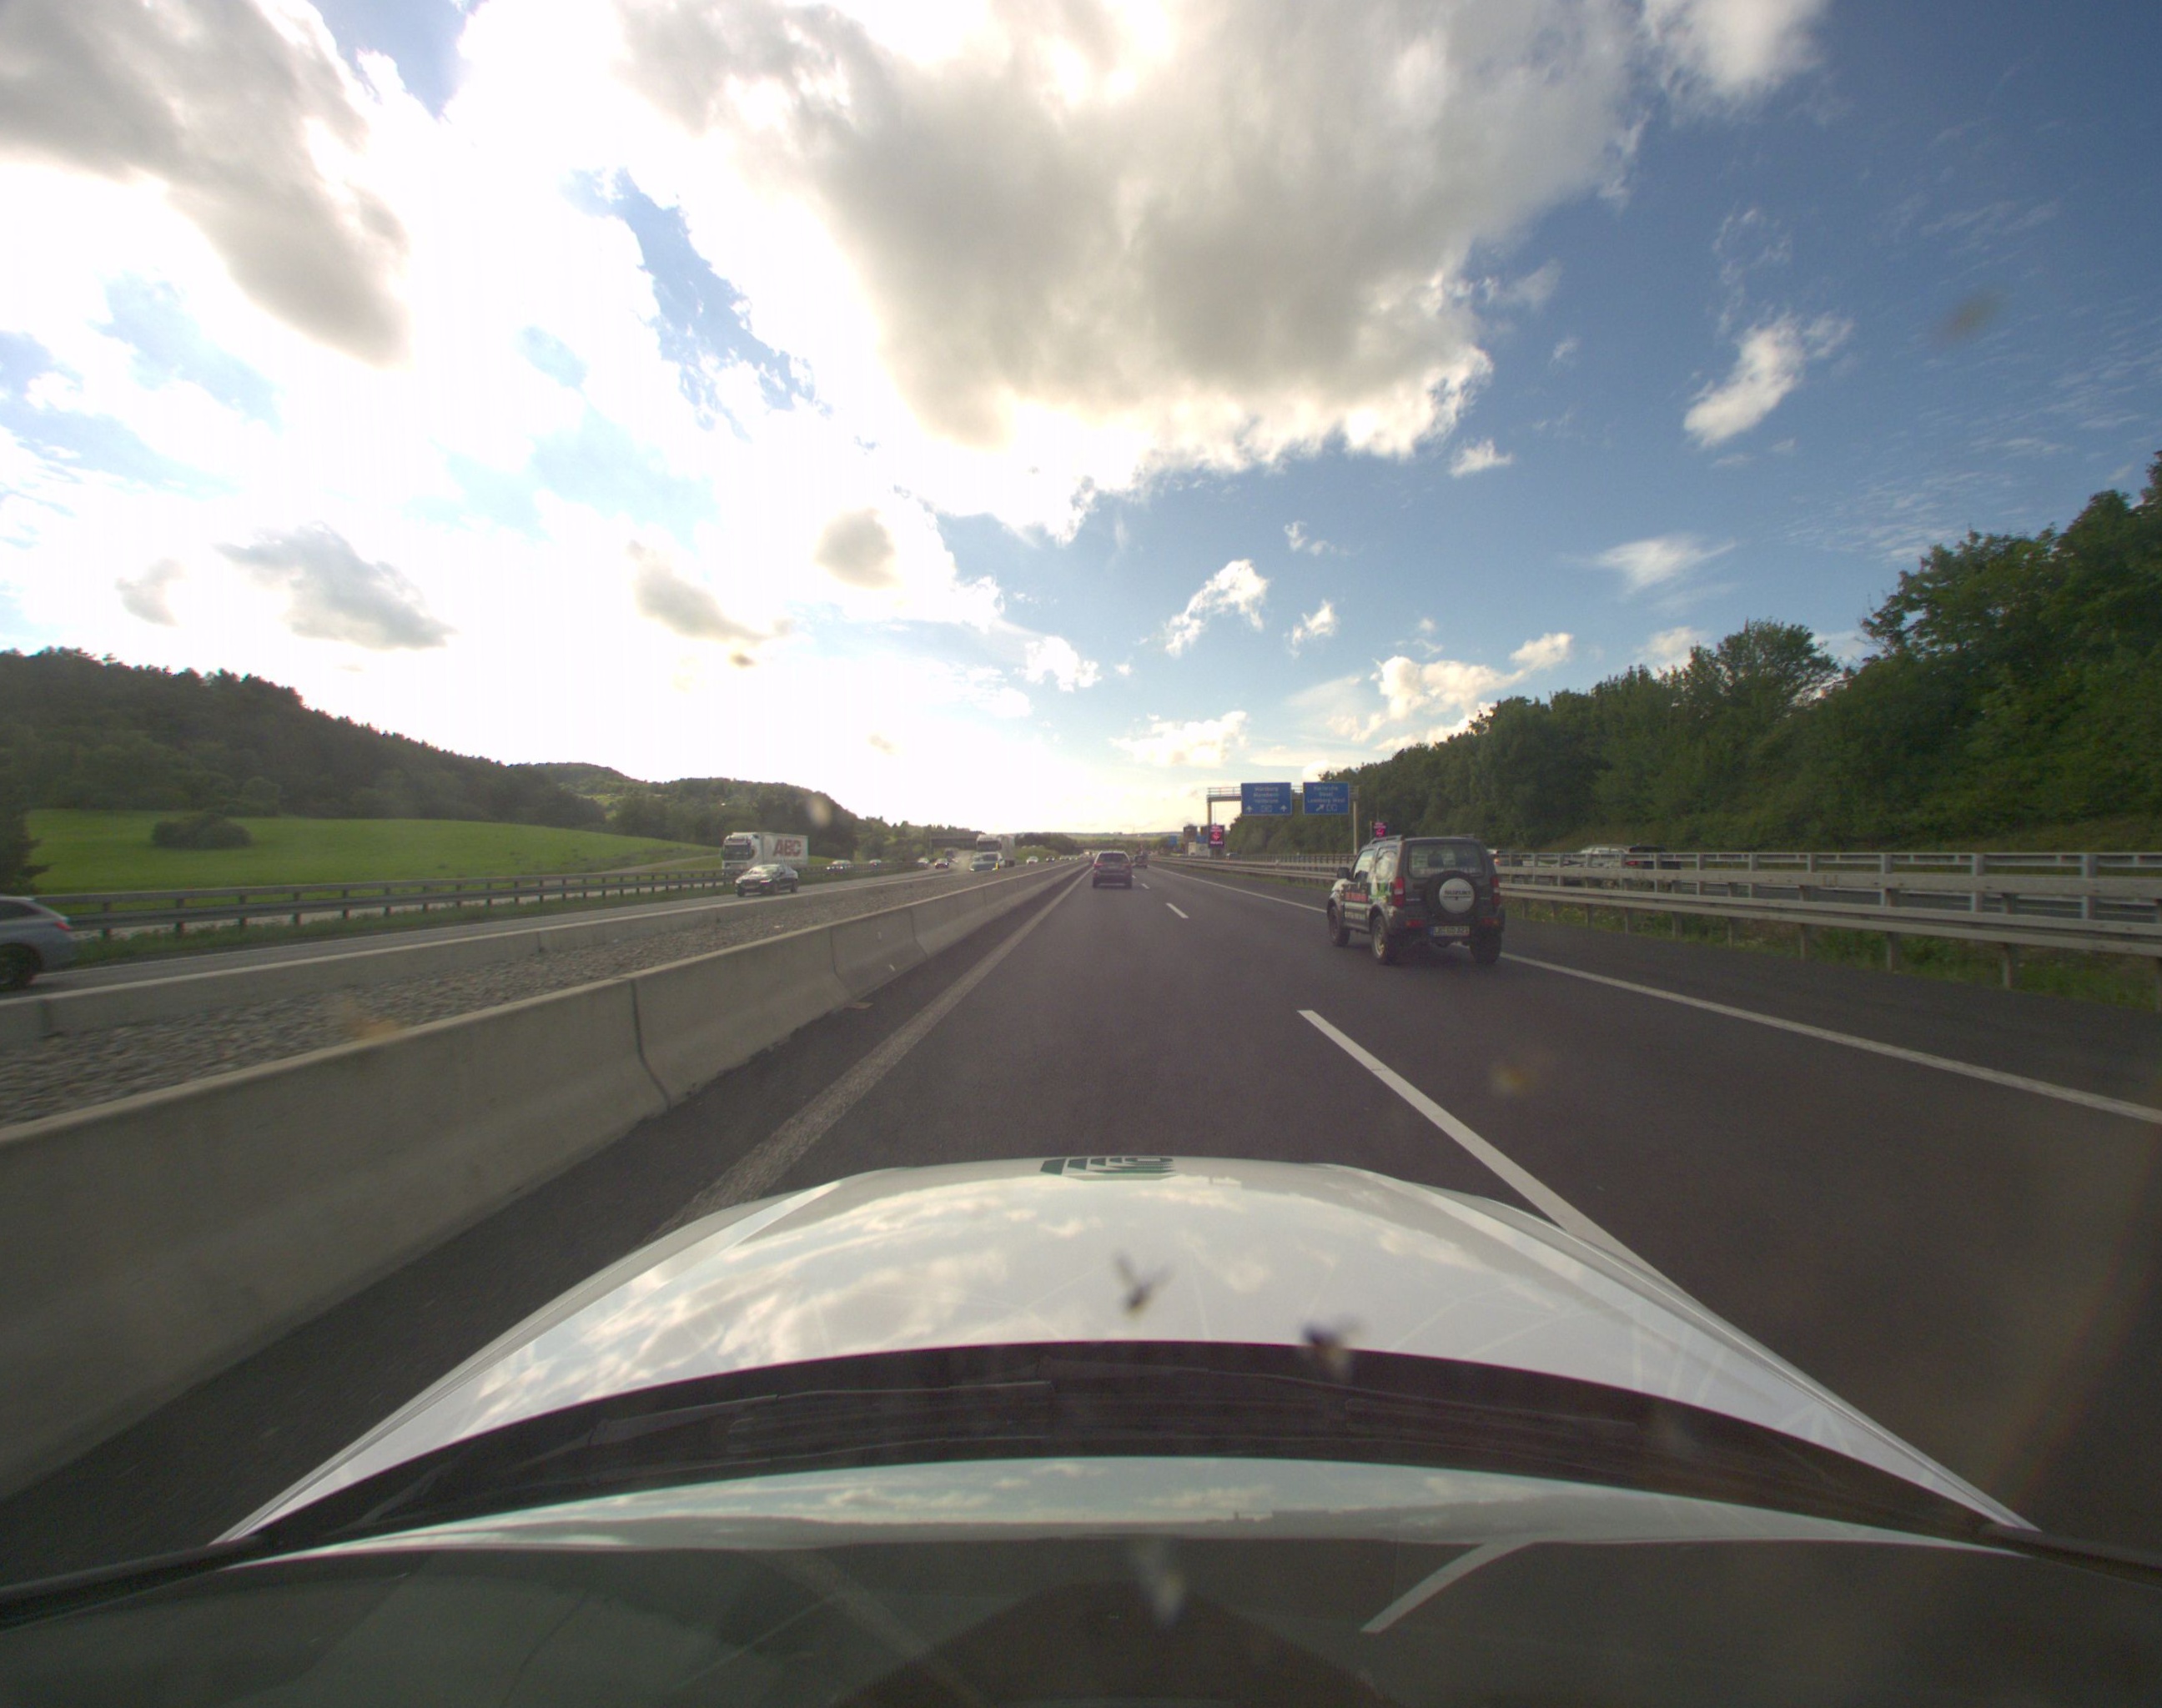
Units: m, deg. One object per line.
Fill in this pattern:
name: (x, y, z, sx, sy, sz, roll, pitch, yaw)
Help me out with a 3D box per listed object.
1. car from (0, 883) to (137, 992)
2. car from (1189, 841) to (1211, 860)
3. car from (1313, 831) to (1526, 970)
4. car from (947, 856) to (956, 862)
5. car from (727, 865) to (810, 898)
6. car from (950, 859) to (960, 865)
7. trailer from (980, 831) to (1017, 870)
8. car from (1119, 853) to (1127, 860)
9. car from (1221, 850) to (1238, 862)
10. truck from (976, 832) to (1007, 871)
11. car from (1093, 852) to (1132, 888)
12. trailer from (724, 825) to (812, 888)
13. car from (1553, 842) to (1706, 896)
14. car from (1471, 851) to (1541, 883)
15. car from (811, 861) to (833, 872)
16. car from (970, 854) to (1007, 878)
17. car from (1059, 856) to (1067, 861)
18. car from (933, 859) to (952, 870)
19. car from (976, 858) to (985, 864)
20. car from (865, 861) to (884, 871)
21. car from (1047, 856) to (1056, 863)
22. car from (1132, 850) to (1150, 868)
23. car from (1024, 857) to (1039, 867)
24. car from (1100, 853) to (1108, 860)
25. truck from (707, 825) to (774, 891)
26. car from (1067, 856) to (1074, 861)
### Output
car: (-16.313, 1.237, 10.799, 1.639, 1.494, 4.999, -2, 0, 2)
car: (24.878, -0.712, 170.351, 3.563, 3.677, 7.551, -2, 0, 2)
car: (4.839, 0.594, 12.310, 1.659, 1.732, 4.210, -1, 0, 3)
car: (-37.618, 1.475, 236.448, 1.794, 1.618, 4.303, -2, 0, 2)
car: (-15.599, 1.328, 41.008, 1.935, 1.494, 5.308, -2, 0, 2)
car: (-33.429, 2.091, 216.172, 1.794, 1.618, 4.303, -2, 0, 2)
trailer: (-9.461, -0.336, 94.760, 2.479, 4.129, 13.288, -2, 0, 2)
car: (11.486, 0.611, 224.627, 1.967, 1.779, 4.121, -2, 0, 1)
car: (22.503, 0.259, 123.337, 1.986, 1.717, 4.001, -2, 0, 2)
truck: (-9.678, -0.258, 88.671, 2.479, 4.129, 5.301, -2, 0, 2)
car: (1.534, 0.735, 38.877, 1.742, 1.630, 3.611, -2, 0, 3)
trailer: (-28.706, 0.264, 75.732, 3.101, 5.160, 14.702, -2, 0, -3)
car: (16.430, 0.427, 24.682, 1.987, 1.484, 4.000, 0, 0, 1)
car: (24.207, 0.714, 46.566, 1.986, 1.708, 4.001, -2, 0, 2)
car: (-39.786, 1.971, 125.312, 1.794, 1.618, 4.303, -2, 0, 2)
car: (-6.314, 0.809, 56.034, 1.840, 1.494, 4.975, -2, 0, 2)
car: (-4.980, 1.269, 223.108, 1.986, 1.456, 4.182, -2, 0, 2)
car: (-20.252, 1.576, 119.253, 1.935, 1.494, 4.129, -2, 0, 2)
car: (-26.045, 1.860, 211.454, 1.794, 1.618, 4.303, -2, 0, 2)
car: (-34.582, 1.938, 136.450, 1.794, 1.618, 4.303, -2, 0, 2)
car: (-6.453, 1.227, 178.942, 1.794, 1.618, 4.303, -2, 0, 2)
car: (7.123, 0.574, 97.419, 1.986, 2.081, 4.001, -2, 0, 2)
car: (-8.143, 1.303, 134.942, 1.986, 1.618, 5.004, -2, 0, 2)
car: (6.431, 0.683, 228.342, 2.160, 1.843, 4.003, -2, 0, 3)
truck: (-28.309, 0.321, 68.006, 3.019, 5.142, 6.622, -2, -1, -3)
car: (-3.371, 1.350, 253.056, 1.986, 1.532, 4.508, -2, 0, 1)
